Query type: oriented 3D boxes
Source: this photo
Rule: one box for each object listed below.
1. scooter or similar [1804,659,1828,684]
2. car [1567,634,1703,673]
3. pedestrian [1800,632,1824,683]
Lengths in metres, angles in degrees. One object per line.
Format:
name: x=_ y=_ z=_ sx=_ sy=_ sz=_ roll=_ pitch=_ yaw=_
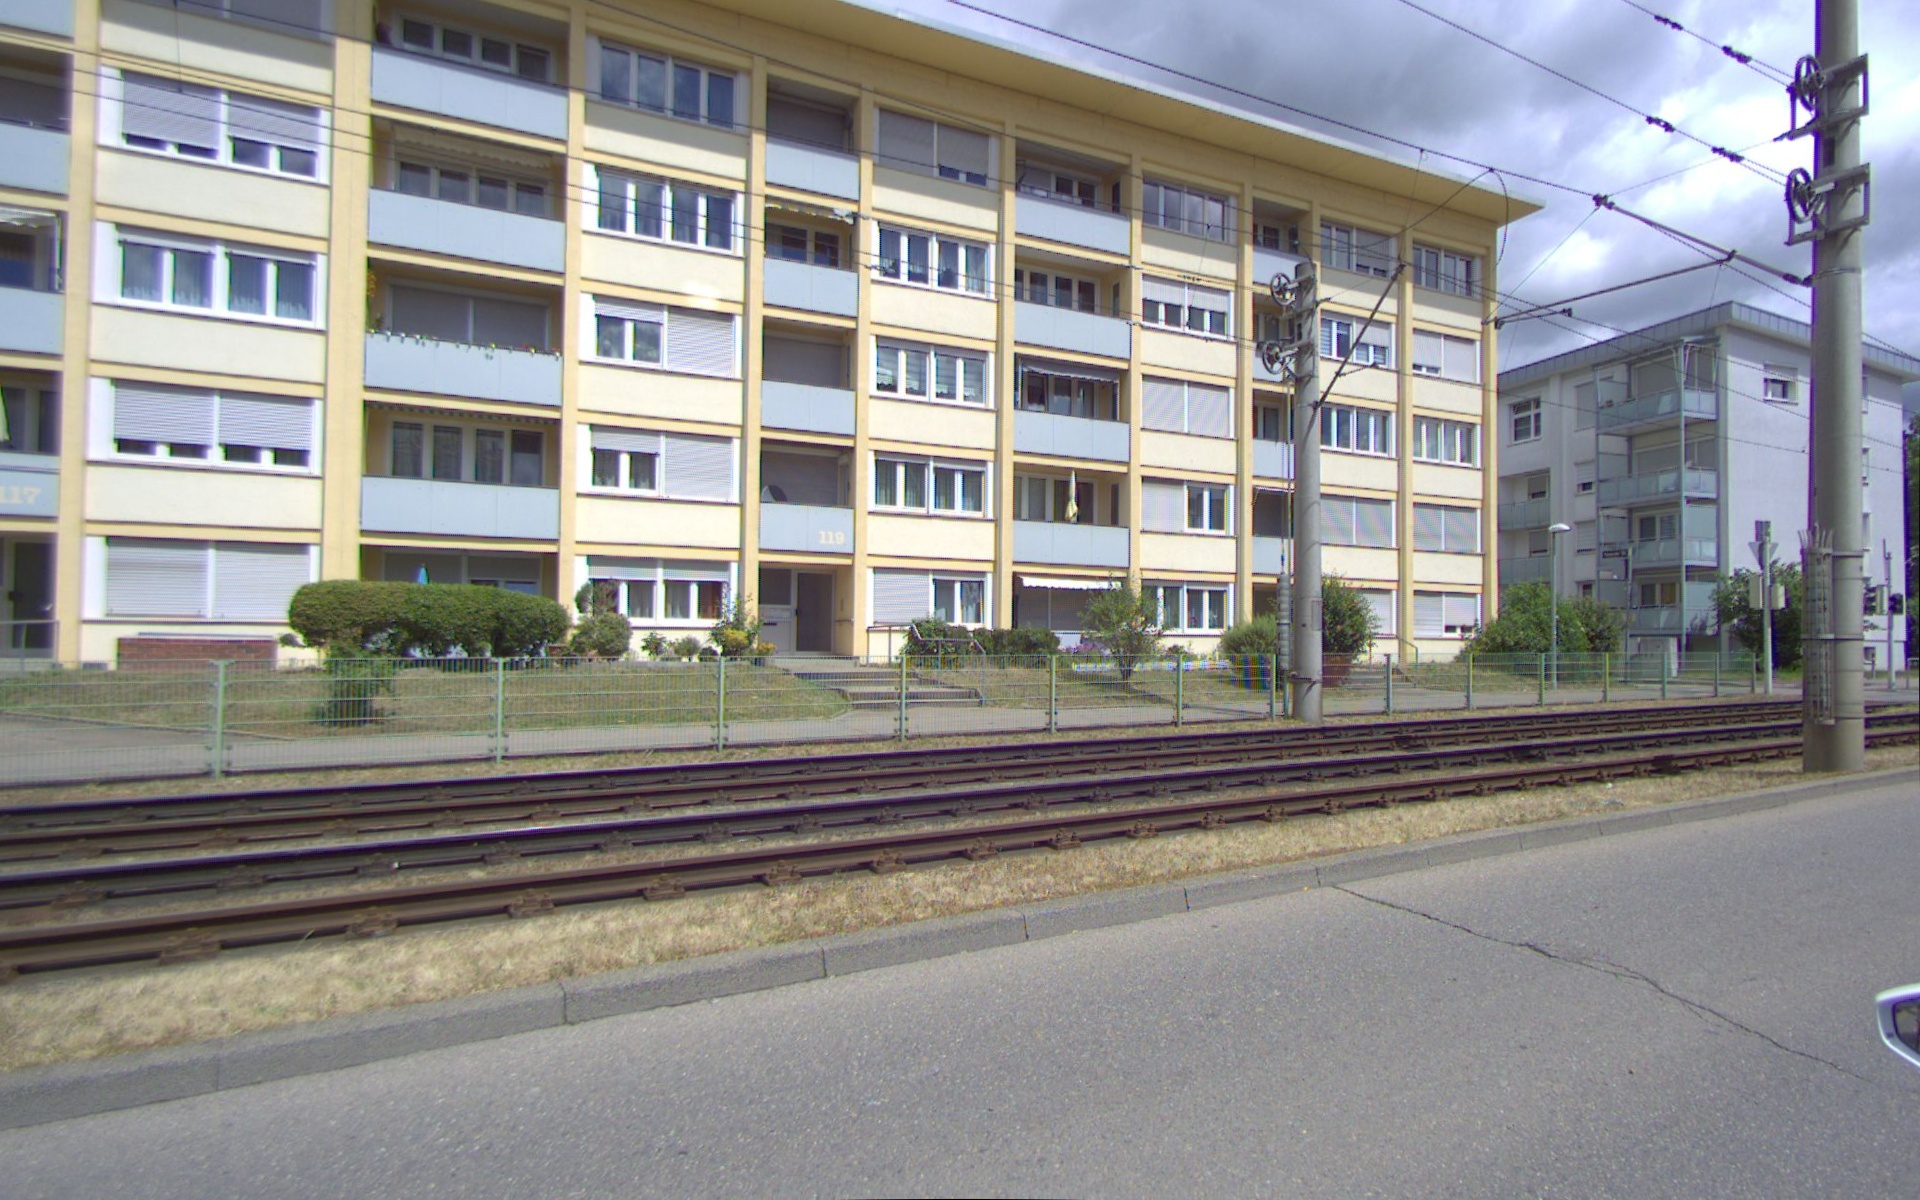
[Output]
scooter or similar: x=26.984 y=2.252 z=31.657 sx=0.468 sy=0.757 sz=0.436 roll=1 pitch=-1 yaw=-25
car: x=25.693 y=2.021 z=38.402 sx=1.873 sy=1.363 sz=3.980 roll=1 pitch=-2 yaw=-21
pedestrian: x=27.153 y=1.831 z=32.020 sx=0.468 sy=1.601 sz=0.436 roll=1 pitch=-1 yaw=-25
